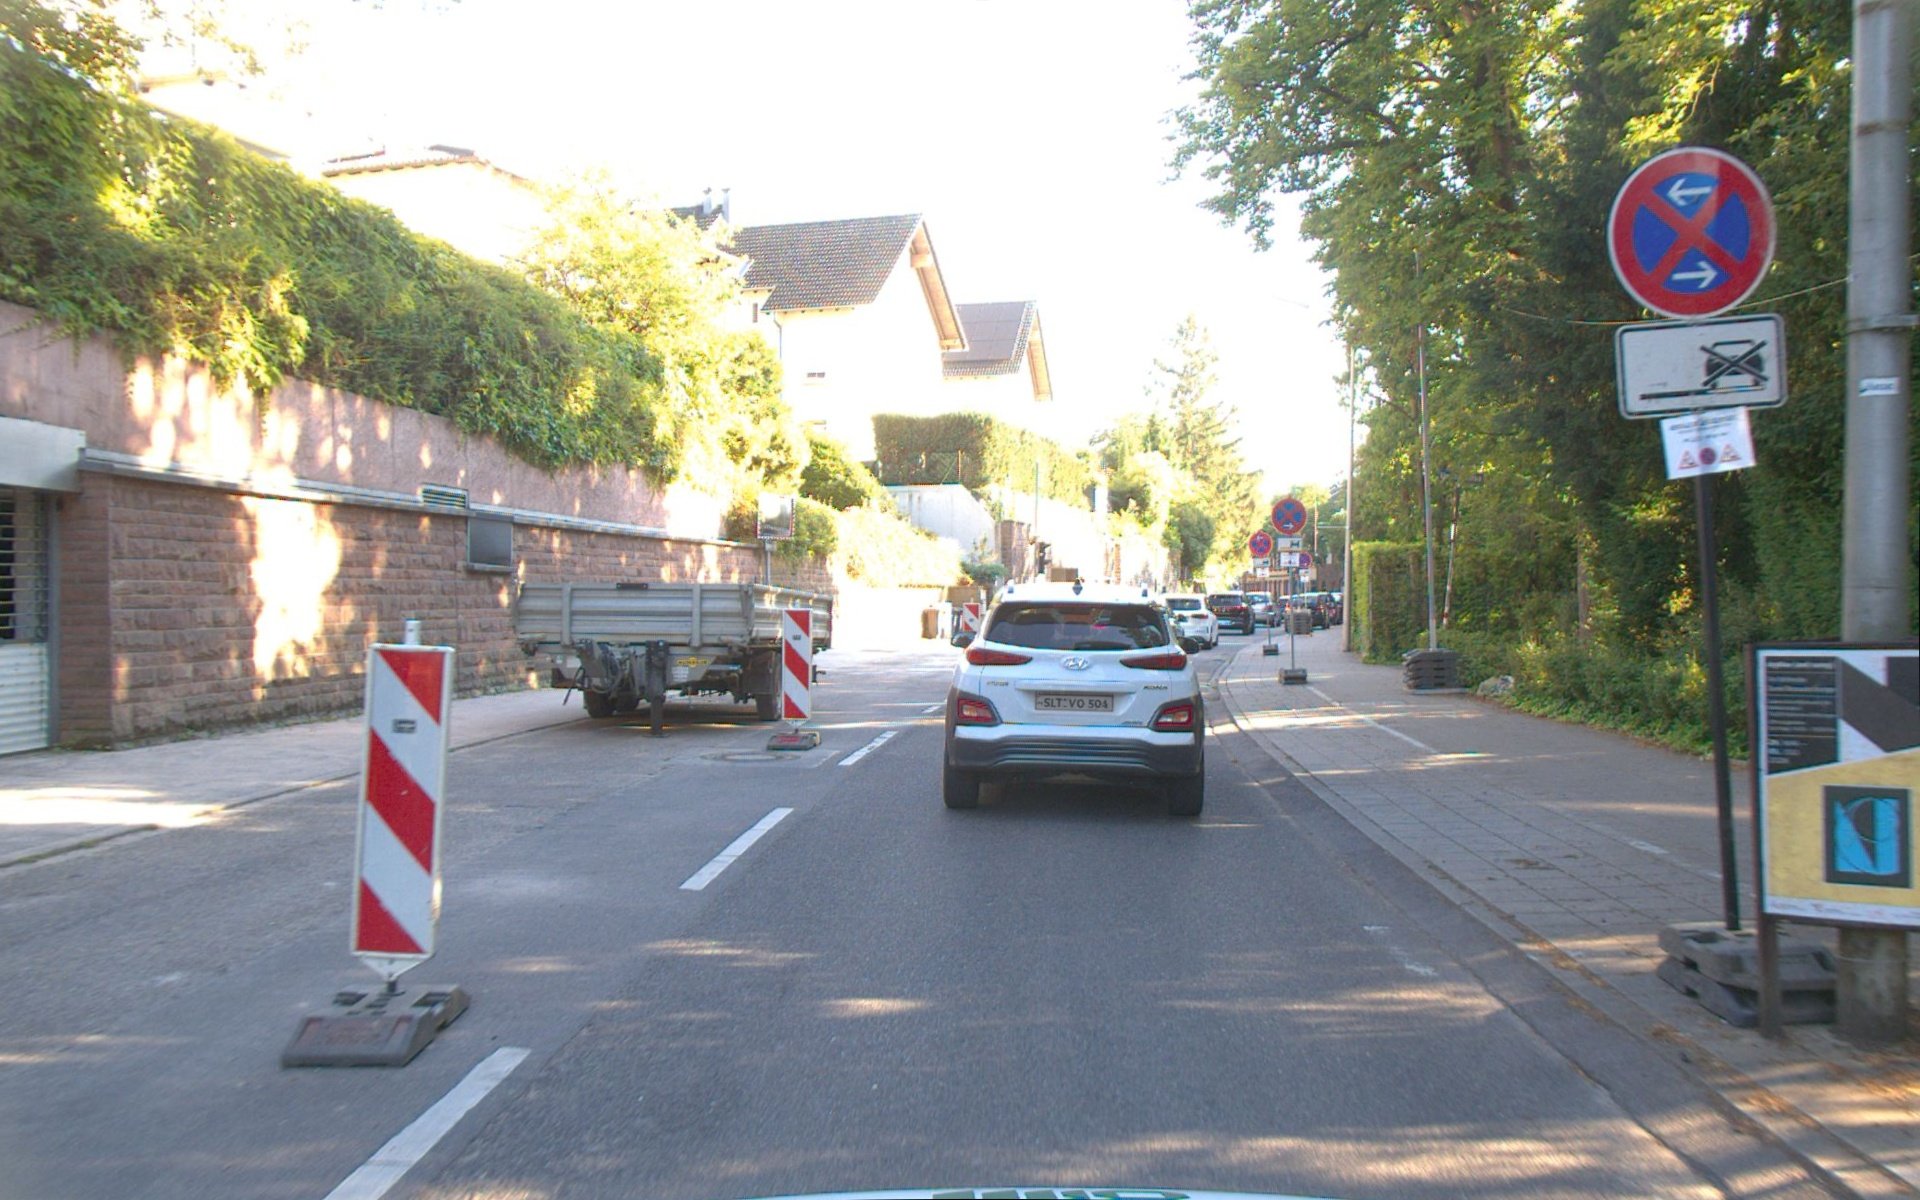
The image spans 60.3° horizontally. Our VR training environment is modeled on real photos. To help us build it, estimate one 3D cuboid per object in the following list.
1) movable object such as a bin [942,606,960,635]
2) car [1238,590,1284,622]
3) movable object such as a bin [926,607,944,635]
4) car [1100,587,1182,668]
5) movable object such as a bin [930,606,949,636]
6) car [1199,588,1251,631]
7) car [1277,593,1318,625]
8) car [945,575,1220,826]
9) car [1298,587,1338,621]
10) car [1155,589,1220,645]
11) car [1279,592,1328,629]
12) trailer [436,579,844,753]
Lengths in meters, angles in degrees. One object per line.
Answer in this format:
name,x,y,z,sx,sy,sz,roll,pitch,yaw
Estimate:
movable object such as a bin,-0.269,0.645,52.219,0.446,0.899,0.501,1,0,15
car,14.043,0.264,77.017,1.658,1.472,3.883,0,0,18
movable object such as a bin,-0.752,0.646,50.249,0.444,0.848,0.392,0,0,14
car,3.743,0.518,33.828,1.479,1.560,3.551,-1,0,9
movable object such as a bin,-0.630,0.654,50.703,0.446,0.899,0.501,1,0,15
car,9.993,0.319,62.223,1.657,1.560,3.885,0,0,13
car,18.468,0.485,90.428,1.658,1.530,3.632,-3,1,19
car,0.917,0.629,12.594,1.735,1.569,4.002,1,0,4
car,17.133,0.184,79.086,1.618,1.591,2.874,0,0,18
car,6.503,0.452,47.114,1.537,1.503,3.551,1,0,13
car,14.413,0.410,69.262,1.756,1.466,4.003,-1,0,16
trailer,-3.124,0.575,18.342,2.584,1.515,7.123,1,0,5
